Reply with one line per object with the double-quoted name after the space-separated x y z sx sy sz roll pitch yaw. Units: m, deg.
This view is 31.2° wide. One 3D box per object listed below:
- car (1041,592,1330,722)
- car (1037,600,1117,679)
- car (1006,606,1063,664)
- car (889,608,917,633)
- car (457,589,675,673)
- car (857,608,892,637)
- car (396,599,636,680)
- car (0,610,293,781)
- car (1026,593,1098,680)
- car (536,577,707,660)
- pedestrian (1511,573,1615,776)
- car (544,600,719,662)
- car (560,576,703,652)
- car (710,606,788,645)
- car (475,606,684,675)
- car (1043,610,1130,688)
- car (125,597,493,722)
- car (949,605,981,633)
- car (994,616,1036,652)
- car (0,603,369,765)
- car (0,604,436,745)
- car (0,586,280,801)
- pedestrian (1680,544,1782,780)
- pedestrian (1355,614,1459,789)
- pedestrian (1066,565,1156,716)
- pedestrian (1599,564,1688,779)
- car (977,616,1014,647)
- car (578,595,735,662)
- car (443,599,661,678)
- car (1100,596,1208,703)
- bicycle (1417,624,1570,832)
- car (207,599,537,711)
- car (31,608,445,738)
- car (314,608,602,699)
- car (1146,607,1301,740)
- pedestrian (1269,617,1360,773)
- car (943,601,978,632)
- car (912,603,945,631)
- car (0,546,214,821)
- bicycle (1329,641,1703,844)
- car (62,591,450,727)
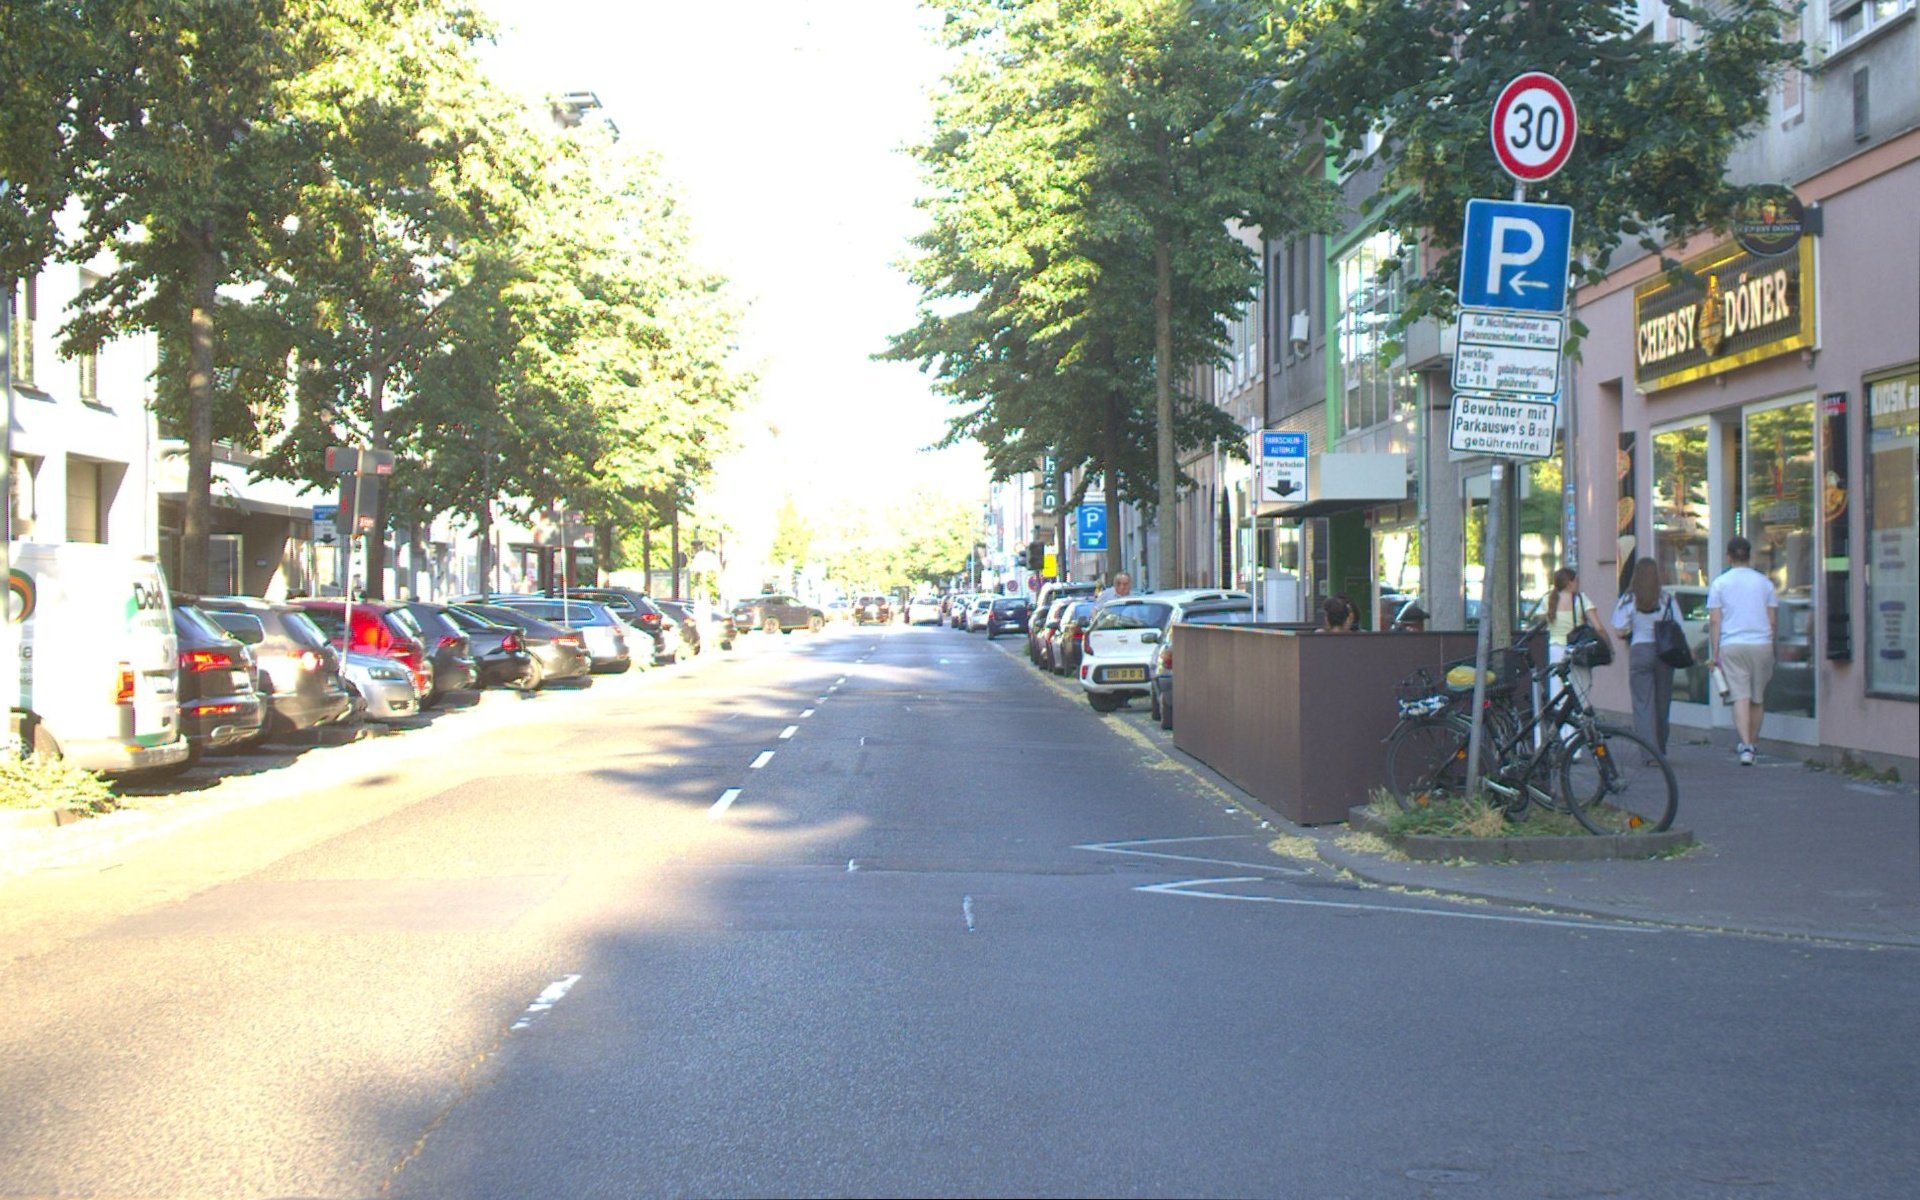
2.925 0.701 44.092 1.674 1.583 3.814 0 0 42 "car"
2.342 0.786 69.348 1.513 1.556 3.514 0 0 0 "car"
2.031 0.945 94.233 1.513 1.556 3.772 0 0 1 "car"
-3.375 1.213 203.949 1.570 1.501 3.303 -1 0 1 "car"
-8.415 0.653 73.753 4.442 1.753 1.919 0 0 0 "car"
-4.585 1.187 183.939 1.752 1.535 3.303 -1 0 1 "car"
-8.667 0.766 67.357 4.442 1.518 1.919 0 0 0 "car"
-8.384 0.825 30.832 4.442 1.462 1.780 0 0 0 "car"
2.234 0.800 75.847 1.513 1.858 4.234 0 0 1 "car"
-9.144 0.490 93.105 4.442 2.192 1.919 0 0 0 "car"
4.892 0.591 27.851 0.797 1.620 0.911 0 0 12 "pedestrian"
-8.648 0.806 90.788 4.442 1.573 1.919 0 0 0 "car"
-10.608 0.456 111.197 4.442 2.427 1.919 0 0 0 "car"
-8.749 1.058 142.536 1.930 1.566 3.299 0 0 24 "car"
-8.471 0.890 76.872 4.442 1.494 1.919 0 0 0 "car"
2.336 0.894 64.089 1.513 1.401 3.837 0 0 0 "car"
-8.498 0.767 45.141 4.442 1.563 1.919 0 0 0 "car"
0.242 0.904 164.582 1.513 1.294 3.303 0 0 1 "car"
1.970 1.203 123.546 1.513 1.271 3.303 0 0 1 "car"
-8.108 0.786 33.279 4.442 1.501 1.844 0 0 0 "car"
-8.132 0.802 37.849 4.442 1.479 1.809 0 0 0 "car"
-8.073 0.730 28.209 4.571 1.692 2.060 0 0 0 "car"
5.985 0.471 26.732 0.698 1.799 0.891 0 0 8 "pedestrian"
3.576 0.805 27.543 0.726 1.374 0.781 0 0 0 "pedestrian"
1.953 0.523 44.607 0.916 1.919 1.018 1 0 -10 "pedestrian"
5.408 0.555 27.233 0.631 1.674 0.891 0 0 8 "pedestrian"
1.471 1.297 141.755 1.513 1.259 3.303 0 0 1 "car"
-8.906 0.837 101.110 4.442 1.953 1.919 0 0 0 "car"
-8.471 0.794 71.650 4.304 1.592 1.919 0 0 0 "car"
2.946 0.739 52.709 1.513 1.572 3.218 0 0 1 "car"
3.247 0.746 20.820 0.598 1.174 1.844 0 0 19 "bicycle"
-8.486 0.778 49.855 4.442 1.563 1.919 0 0 0 "car"
-8.377 0.834 40.154 4.442 1.453 1.859 0 0 0 "car"
-8.200 0.864 56.413 4.442 1.444 1.919 0 0 0 "car"
2.948 0.795 39.059 1.543 1.428 3.678 0 0 1 "car"
3.163 0.839 30.728 0.726 1.374 0.781 0 0 0 "pedestrian"
0.027 0.832 175.751 1.752 1.535 3.303 -1 0 1 "car"
-1.724 0.929 188.203 1.721 1.470 3.303 -1 0 1 "car"
-8.040 0.584 25.503 4.571 1.955 1.991 0 0 -1 "car"
3.118 0.781 19.359 1.957 1.070 0.704 0 0 31 "bicycle"
-8.735 0.722 42.910 4.442 1.633 1.859 0 0 0 "car"
